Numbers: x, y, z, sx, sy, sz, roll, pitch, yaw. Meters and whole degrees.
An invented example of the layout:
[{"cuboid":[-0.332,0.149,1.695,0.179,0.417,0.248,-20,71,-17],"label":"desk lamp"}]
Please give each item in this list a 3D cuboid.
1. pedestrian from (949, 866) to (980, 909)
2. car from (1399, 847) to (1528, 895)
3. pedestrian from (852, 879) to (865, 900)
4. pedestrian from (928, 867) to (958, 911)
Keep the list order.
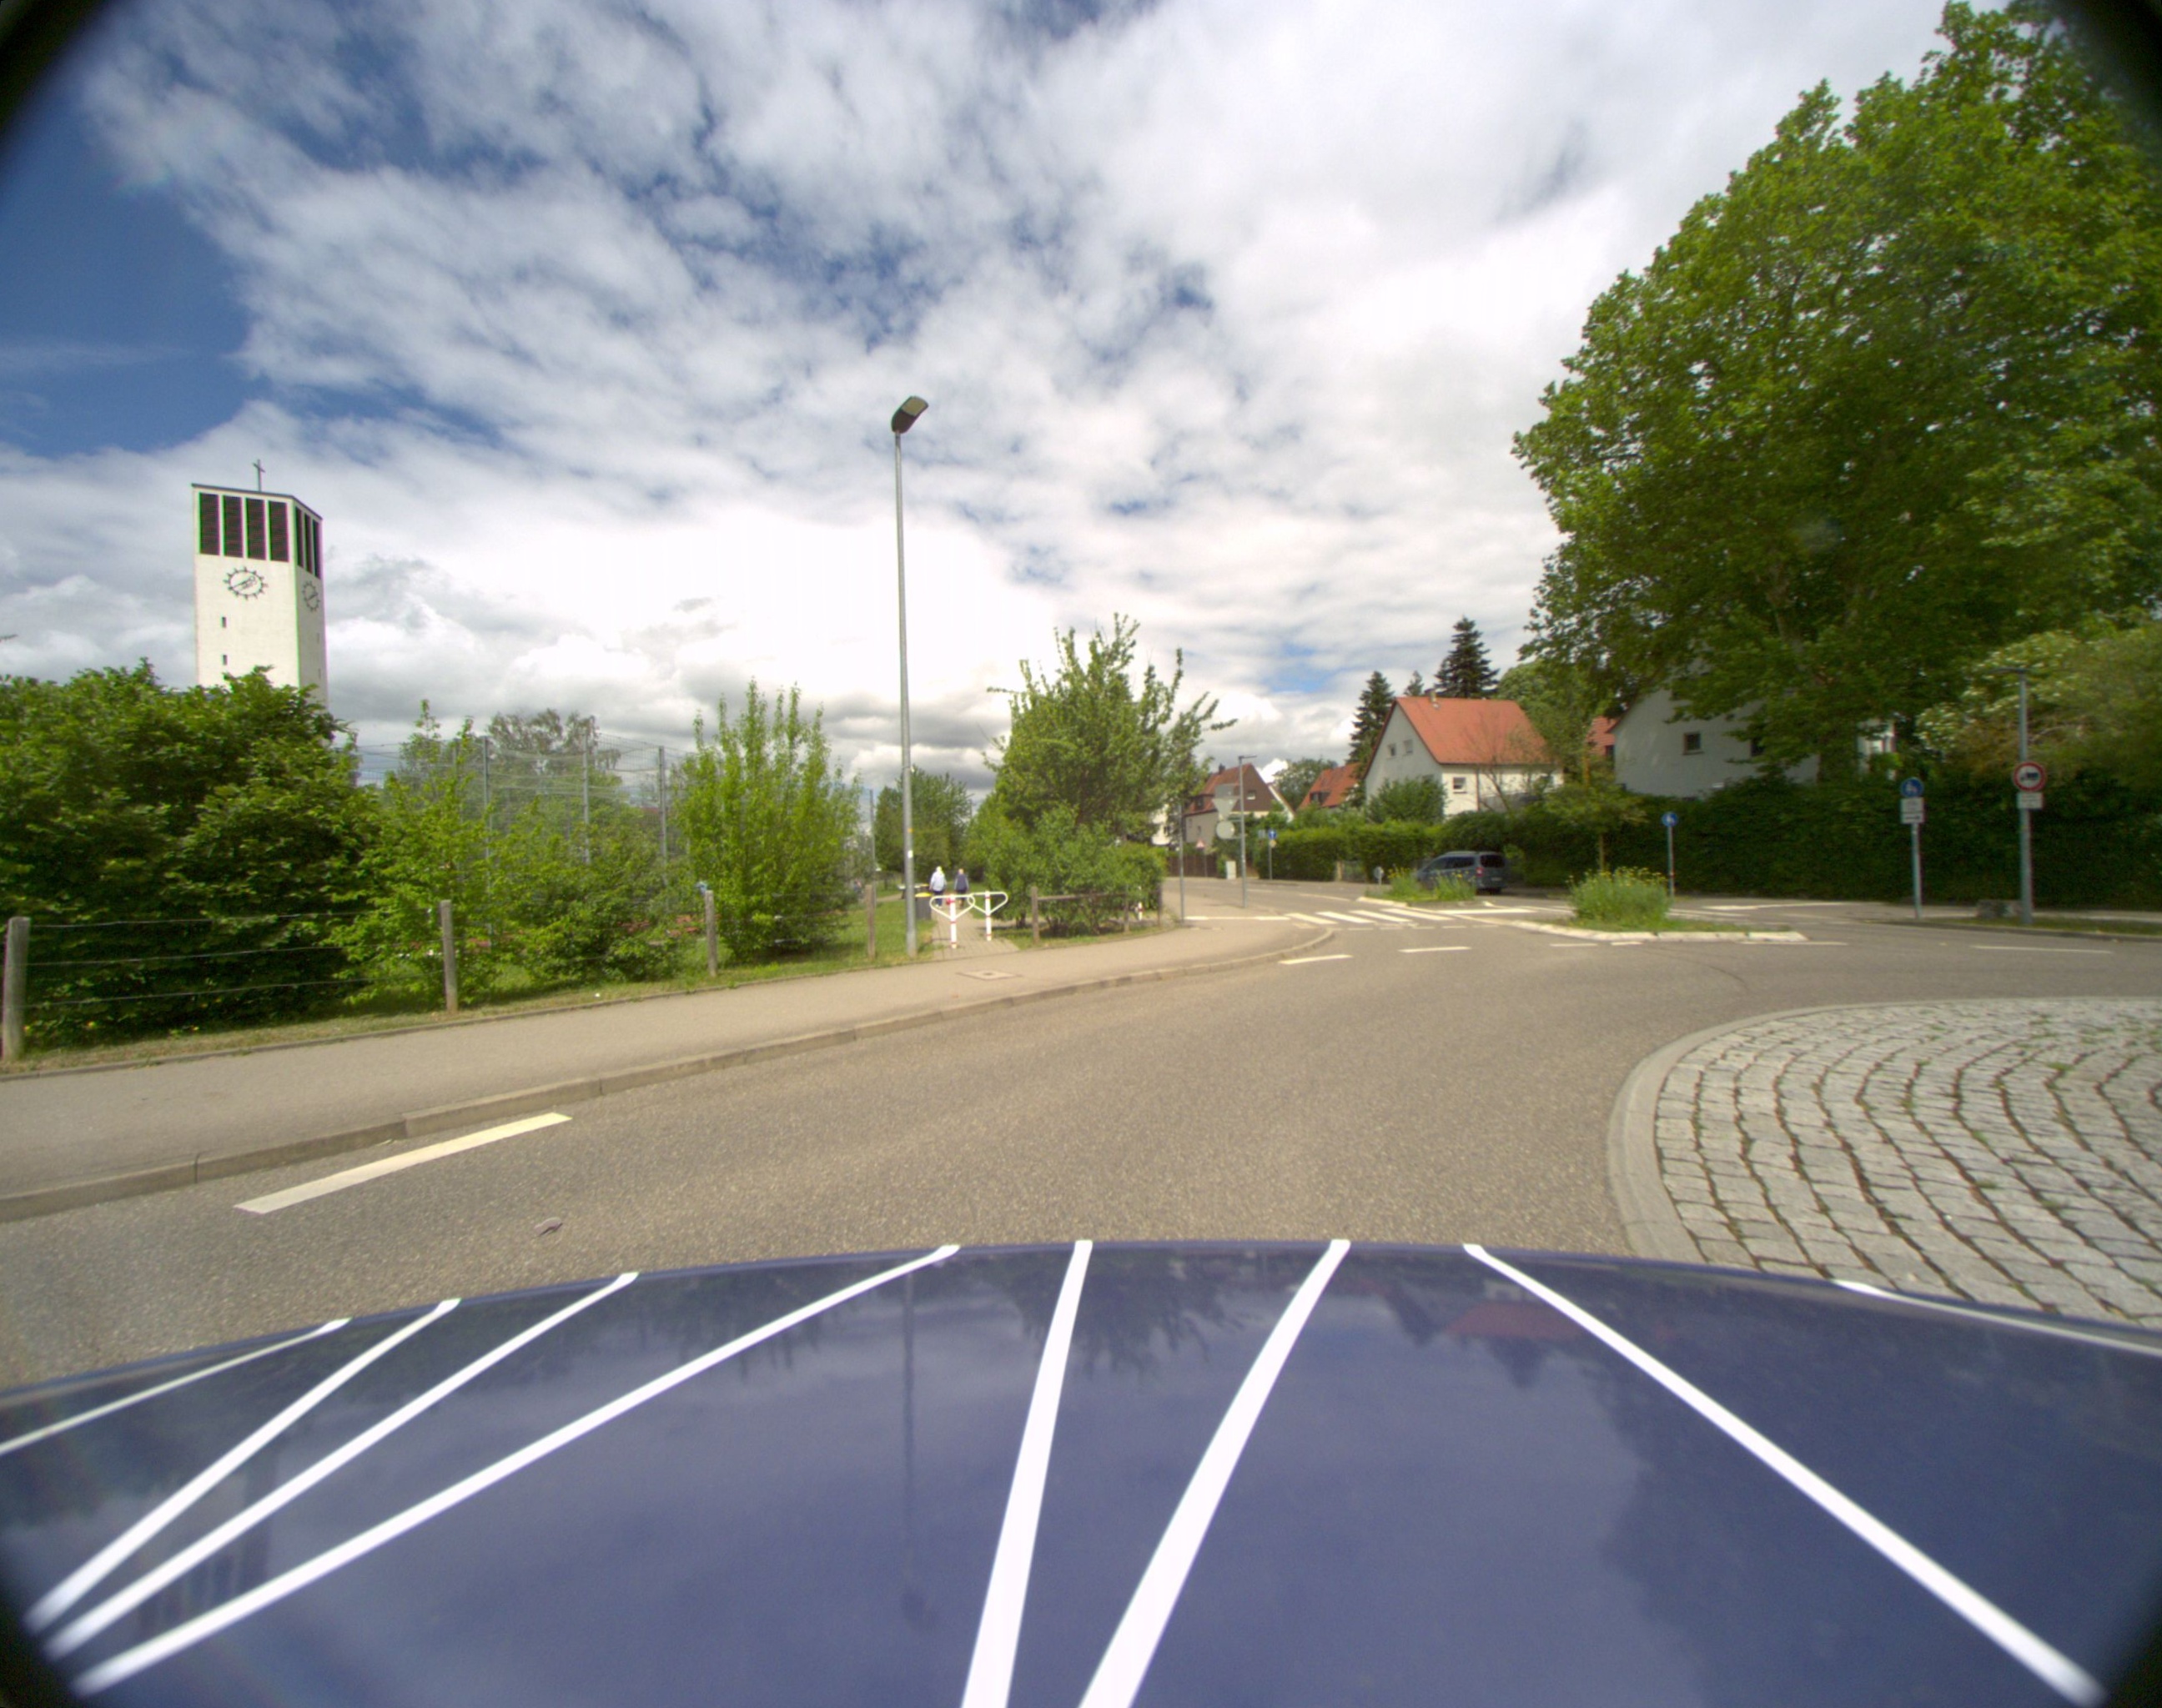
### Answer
[{"cuboid":[-4.748,1.359,31.004,0.896,1.683,0.929,-4,0,-27],"label":"pedestrian"},{"cuboid":[15.896,0.726,31.872,2.141,1.762,4.457,-3,0,-22],"label":"car"},{"cuboid":[-13.496,2.160,46.110,0.565,1.226,0.799,-1,0,2],"label":"pedestrian"},{"cuboid":[-5.555,1.405,30.550,0.896,1.683,0.929,-4,0,-27],"label":"pedestrian"}]
